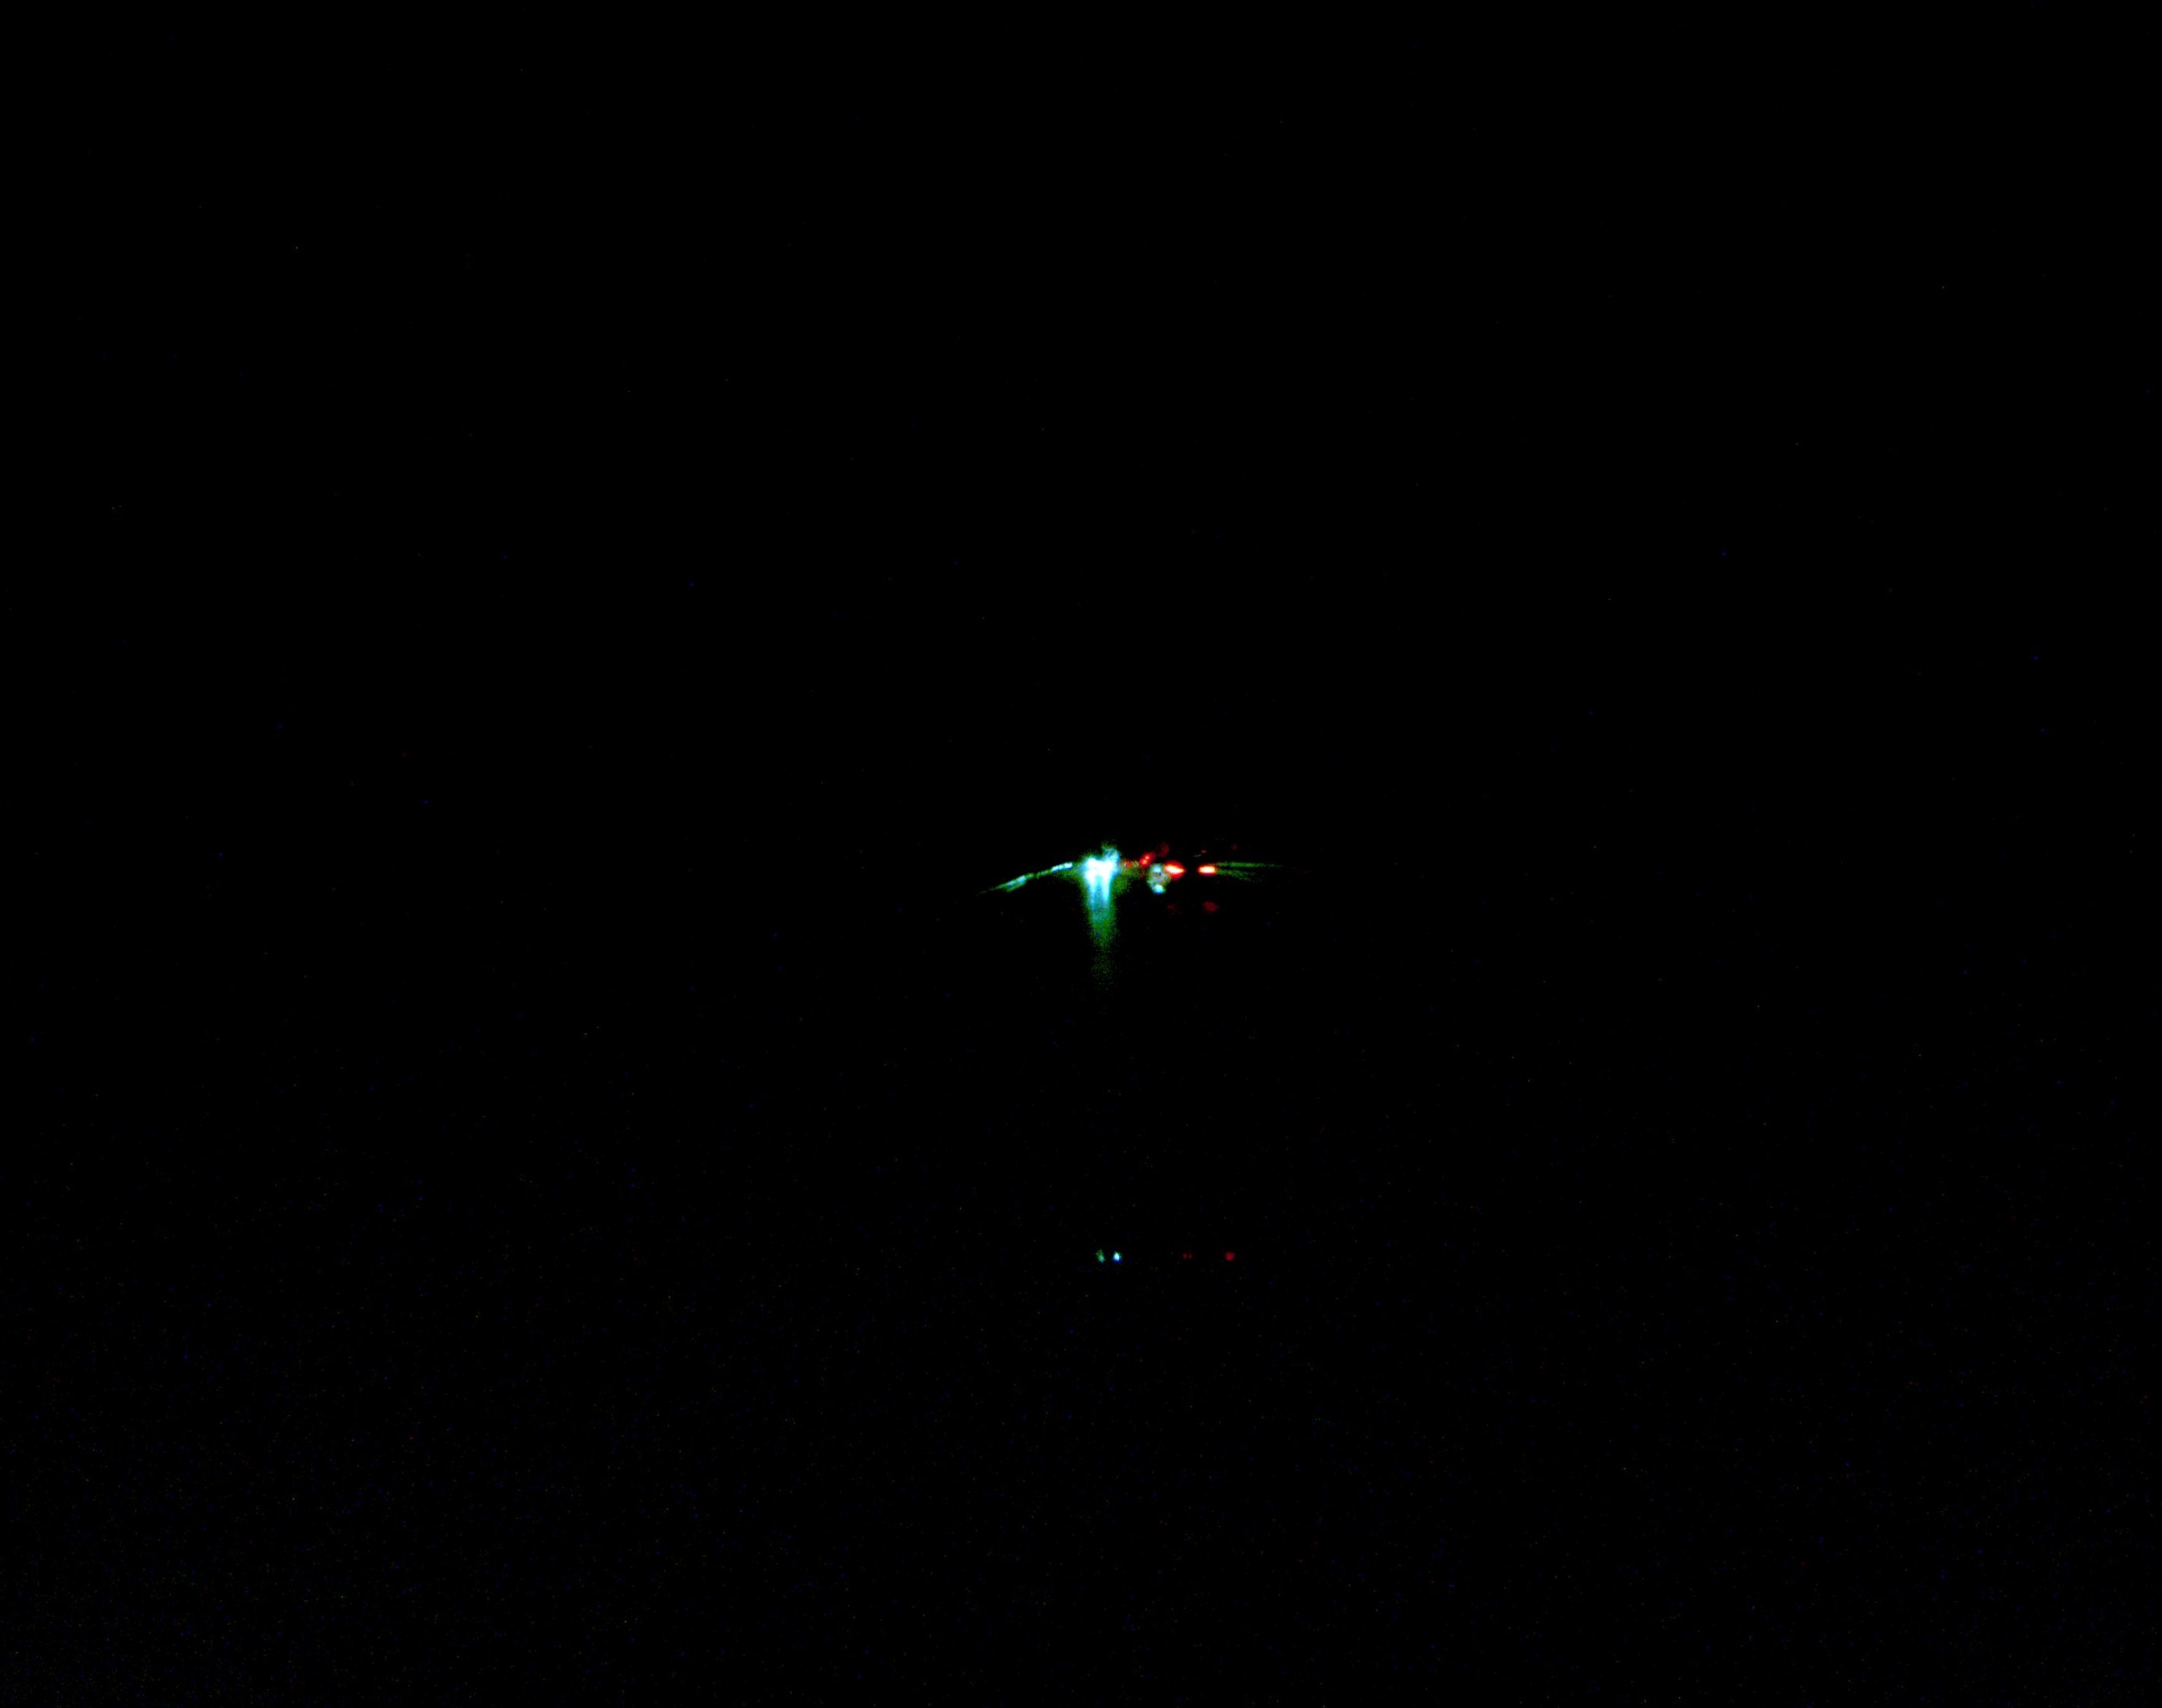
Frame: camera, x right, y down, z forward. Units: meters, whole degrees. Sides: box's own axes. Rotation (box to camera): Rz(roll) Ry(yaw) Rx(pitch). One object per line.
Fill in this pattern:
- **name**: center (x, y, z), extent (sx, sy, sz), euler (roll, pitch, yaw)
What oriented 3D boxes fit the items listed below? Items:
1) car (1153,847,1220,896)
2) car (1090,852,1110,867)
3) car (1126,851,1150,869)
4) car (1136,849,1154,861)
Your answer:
- **car**: center (3.797, 0.558, 27.994), extent (1.839, 1.536, 4.645), euler (-2, 1, 1)
- **car**: center (2.019, 0.525, 80.160), extent (1.806, 1.452, 4.277), euler (-2, 1, 5)
- **car**: center (4.883, 0.475, 65.678), extent (1.810, 1.331, 4.188), euler (-2, 1, 1)
- **car**: center (8.249, 0.098, 97.991), extent (1.998, 1.463, 3.836), euler (-2, 0, 2)
